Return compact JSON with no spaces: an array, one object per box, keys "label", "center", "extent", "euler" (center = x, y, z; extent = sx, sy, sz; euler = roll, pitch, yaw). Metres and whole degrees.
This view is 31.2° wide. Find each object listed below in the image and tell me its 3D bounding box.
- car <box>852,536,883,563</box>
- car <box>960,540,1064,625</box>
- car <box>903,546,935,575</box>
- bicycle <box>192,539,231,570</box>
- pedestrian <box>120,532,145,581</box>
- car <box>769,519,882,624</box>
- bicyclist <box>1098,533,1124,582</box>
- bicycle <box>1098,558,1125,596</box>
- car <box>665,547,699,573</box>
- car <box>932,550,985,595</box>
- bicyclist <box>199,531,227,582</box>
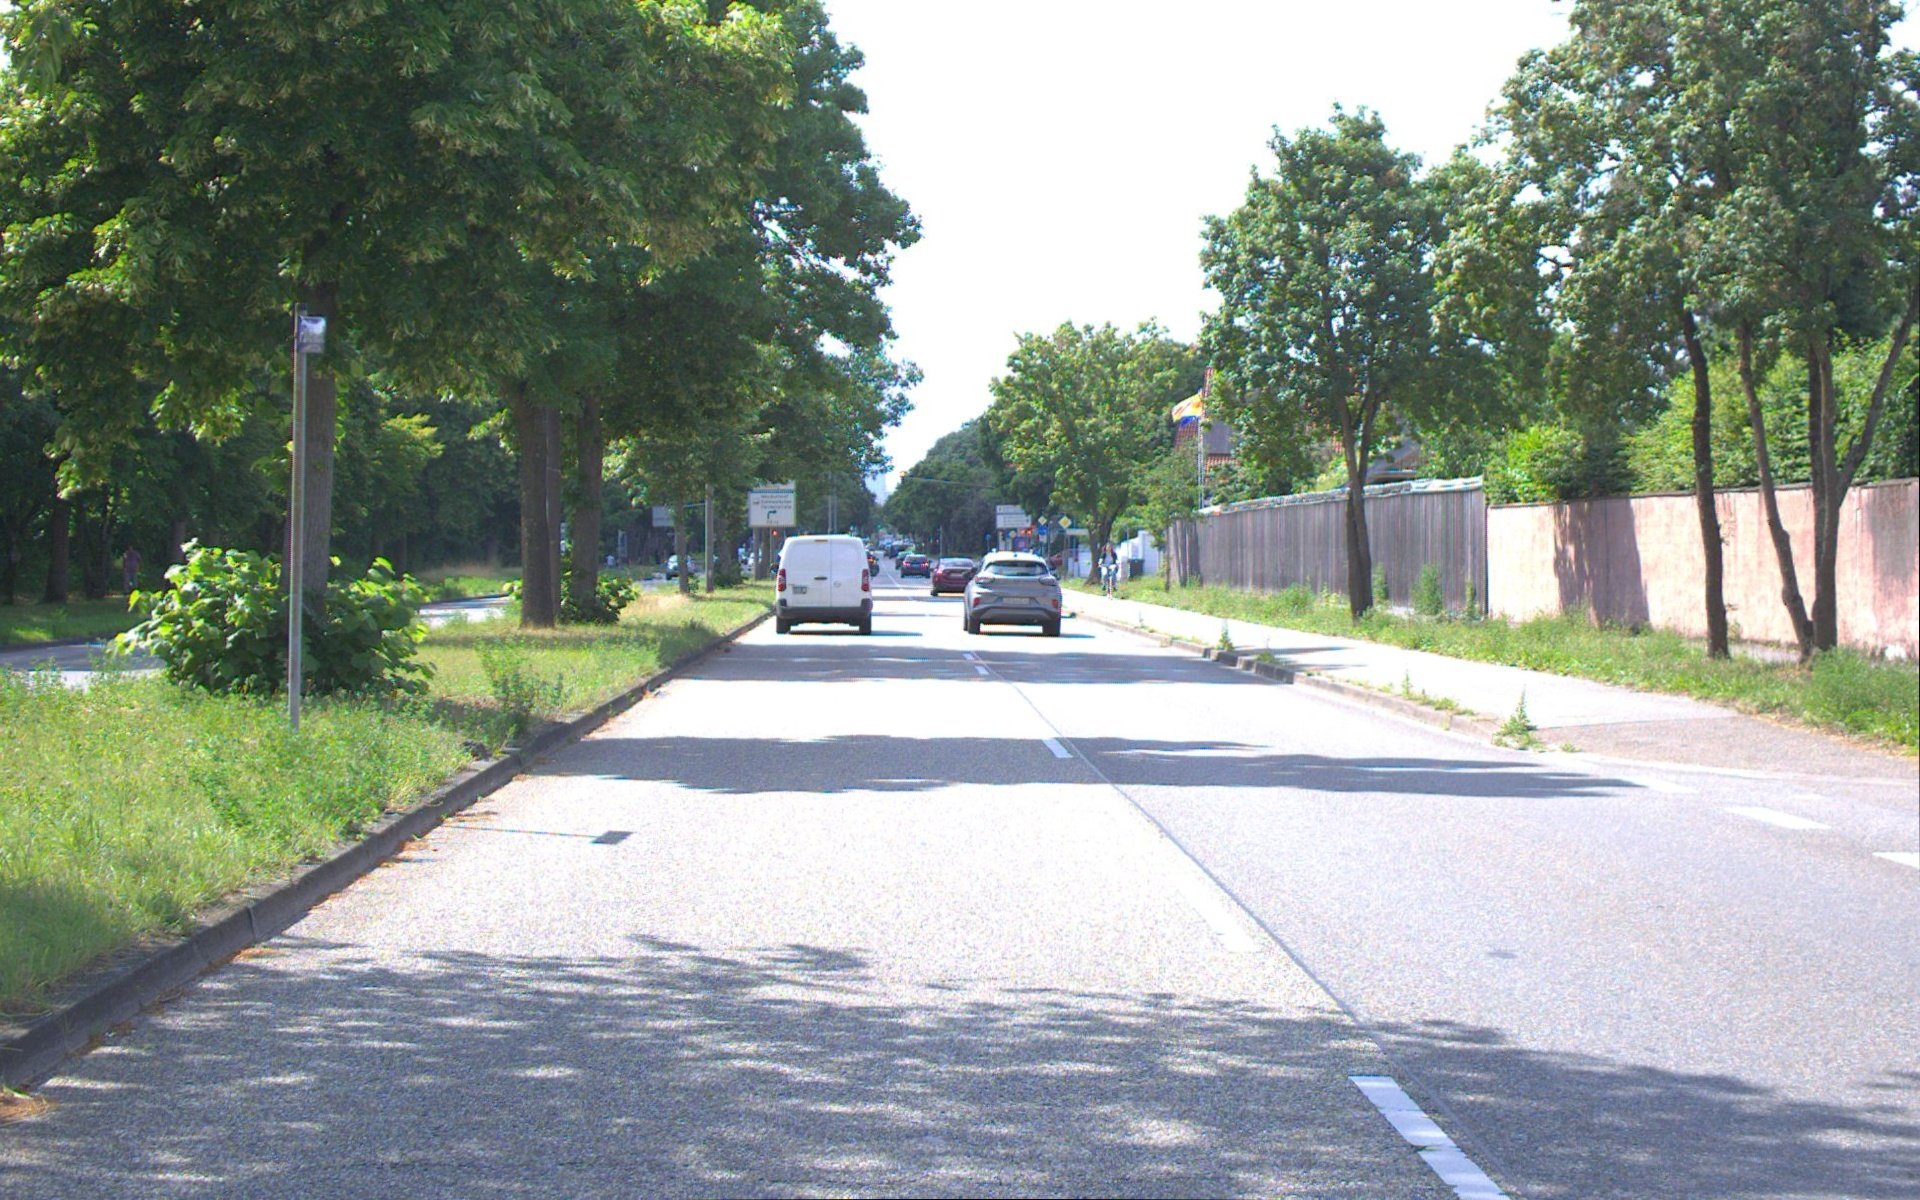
[{"label":"car","center":[-6.047,-3.295,224.925],"extent":[1.941,1.761,4.146],"euler":[0,1,-1]},{"label":"car","center":[0.966,-0.354,66.221],"extent":[1.875,1.583,4.185],"euler":[0,1,-1]},{"label":"car","center":[-2.639,-2.527,221.296],"extent":[1.993,1.766,4.147],"euler":[1,1,-1]},{"label":"bicycle","center":[-21.169,-1.284,97.261],"extent":[0.618,0.875,1.915],"euler":[0,1,1]},{"label":"pedestrian","center":[-27.543,-1.443,114.384],"extent":[0.644,1.624,0.656],"euler":[1,1,0]},{"label":"car","center":[-2.513,-0.567,65.242],"extent":[2.066,1.905,4.647],"euler":[0,1,-1]},{"label":"bicyclist","center":[4.500,-1.268,102.661],"extent":[0.654,1.407,0.986],"euler":[-2,1,0]},{"label":"bicycle","center":[4.517,-0.692,102.741],"extent":[0.646,1.064,2.278],"euler":[-2,1,0]},{"label":"car","center":[-18.662,-2.714,230.691],"extent":[1.993,1.700,4.193],"euler":[0,1,-1]},{"label":"car","center":[-0.070,-1.024,127.067],"extent":[1.880,1.581,4.000],"euler":[0,1,-1]},{"label":"bicyclist","center":[-21.169,-1.232,97.372],"extent":[0.618,1.443,0.729],"euler":[0,1,2]}]
